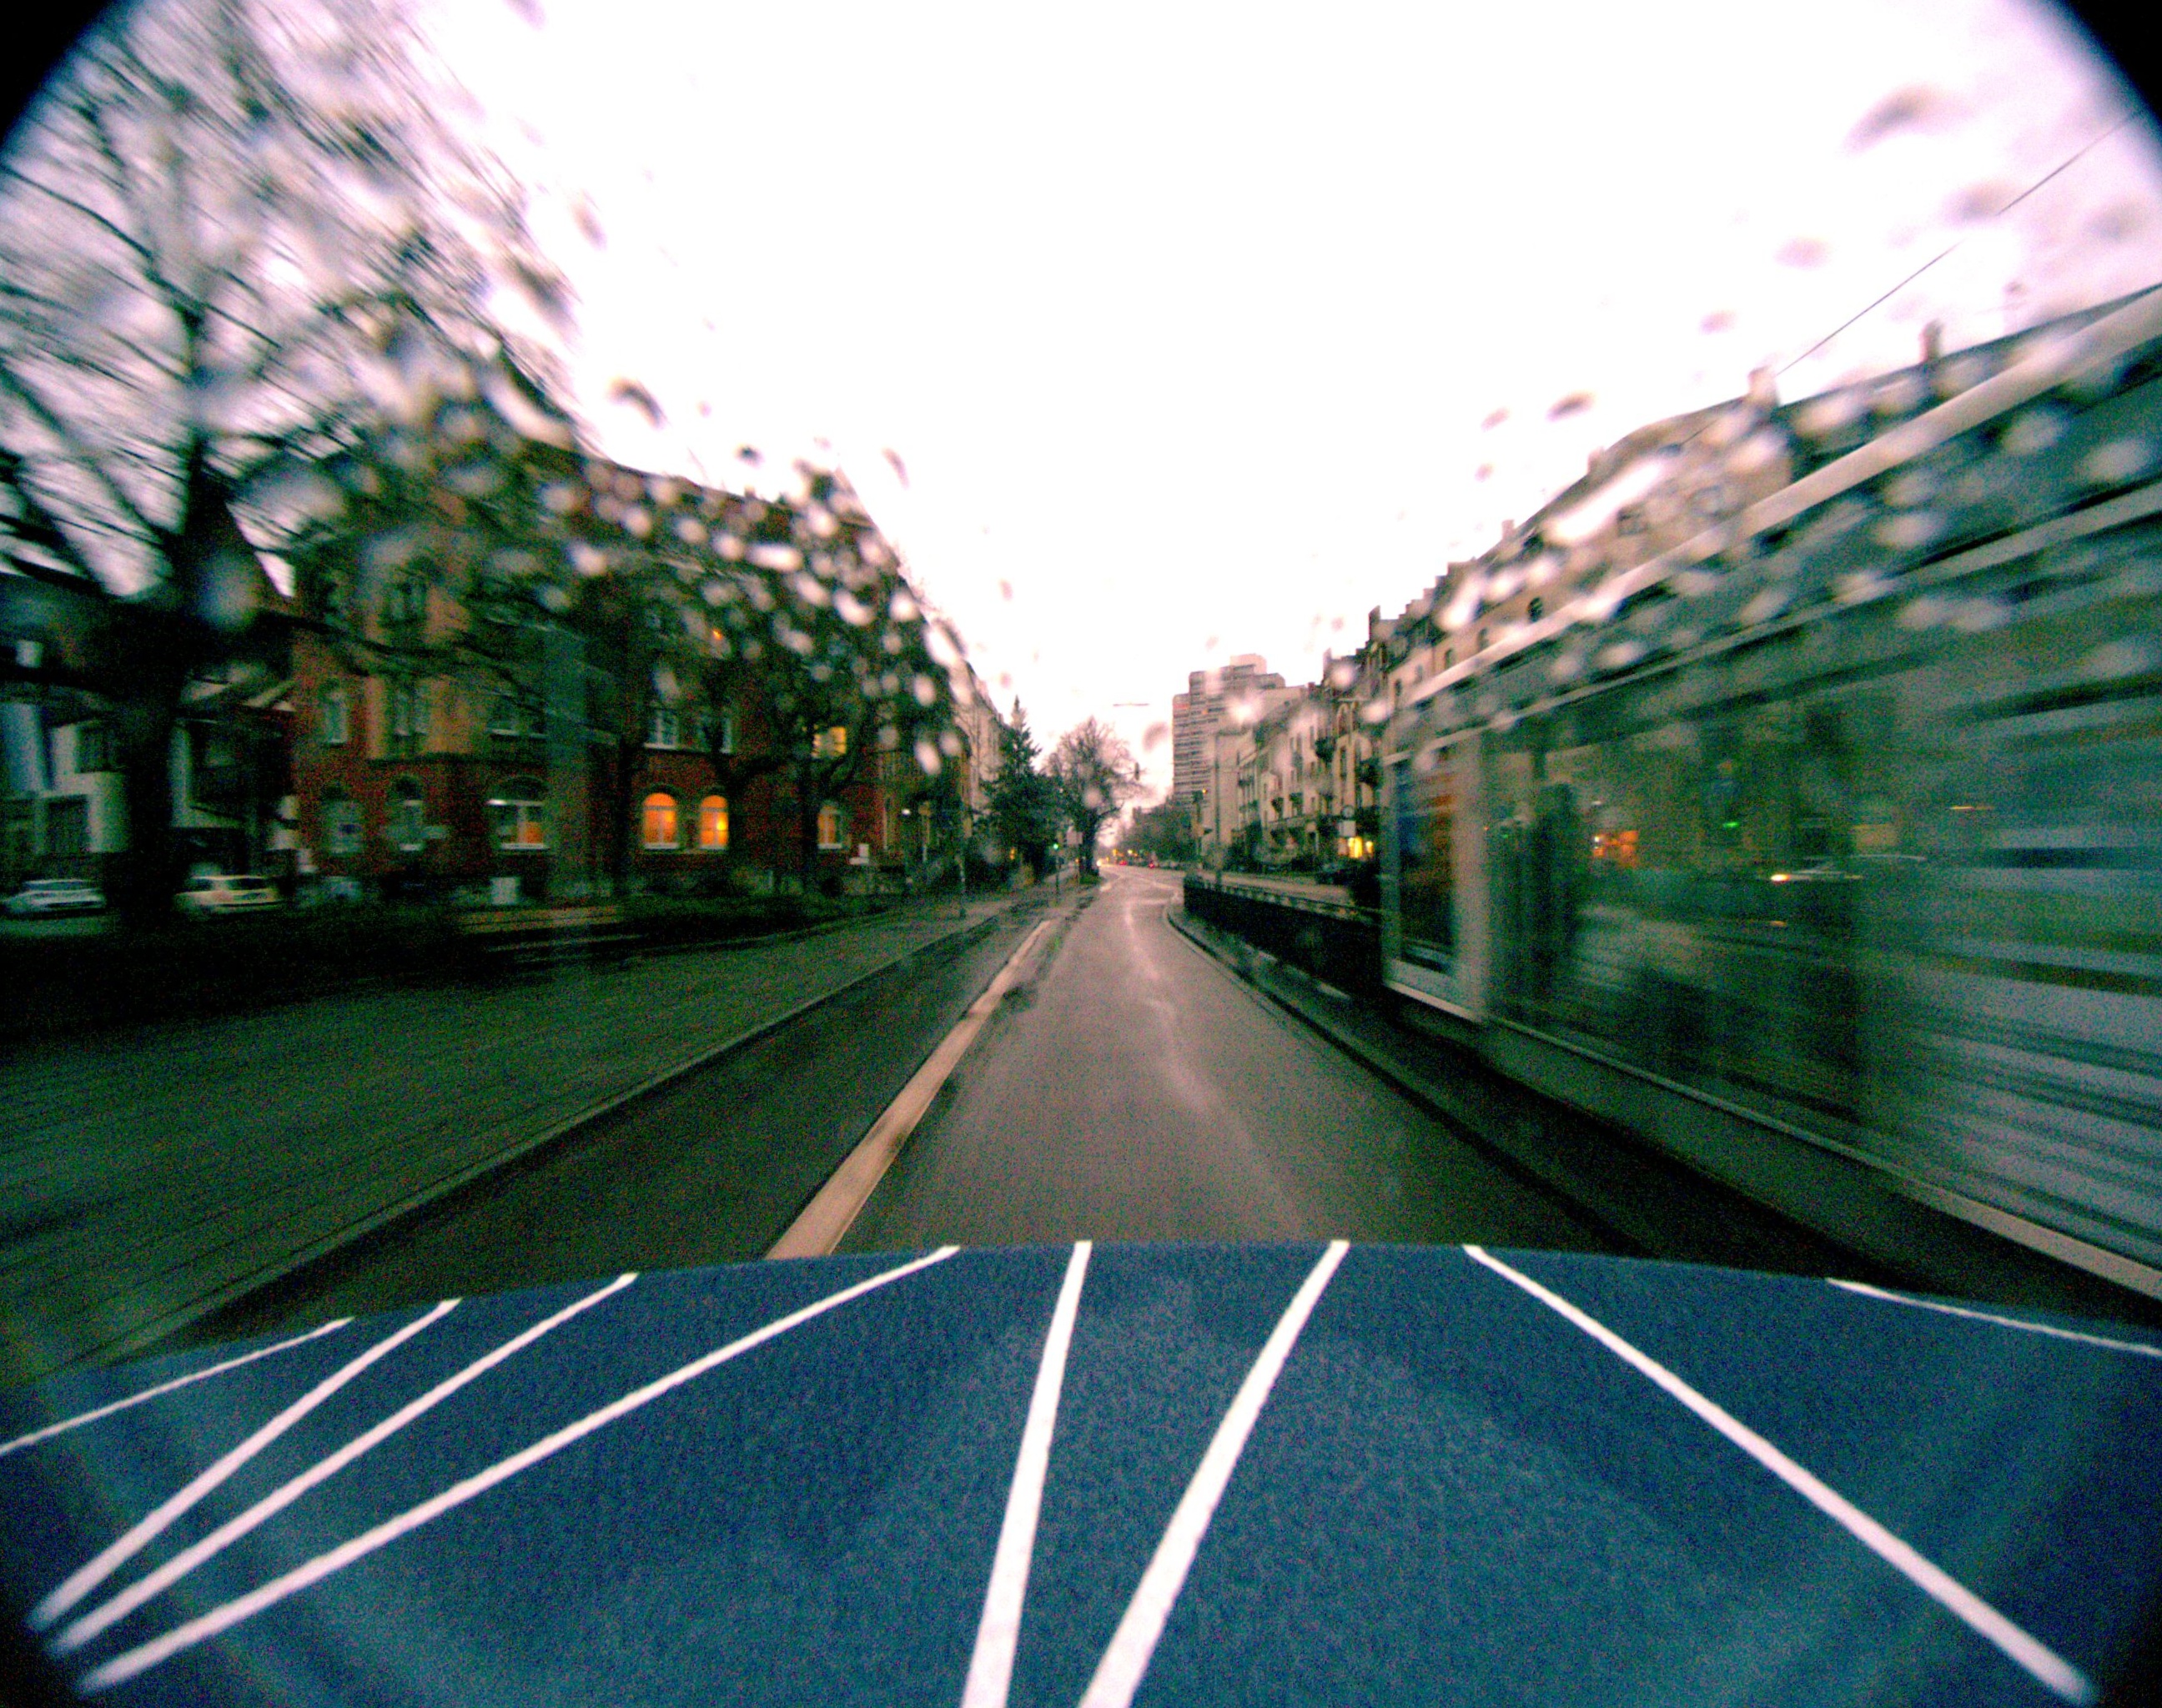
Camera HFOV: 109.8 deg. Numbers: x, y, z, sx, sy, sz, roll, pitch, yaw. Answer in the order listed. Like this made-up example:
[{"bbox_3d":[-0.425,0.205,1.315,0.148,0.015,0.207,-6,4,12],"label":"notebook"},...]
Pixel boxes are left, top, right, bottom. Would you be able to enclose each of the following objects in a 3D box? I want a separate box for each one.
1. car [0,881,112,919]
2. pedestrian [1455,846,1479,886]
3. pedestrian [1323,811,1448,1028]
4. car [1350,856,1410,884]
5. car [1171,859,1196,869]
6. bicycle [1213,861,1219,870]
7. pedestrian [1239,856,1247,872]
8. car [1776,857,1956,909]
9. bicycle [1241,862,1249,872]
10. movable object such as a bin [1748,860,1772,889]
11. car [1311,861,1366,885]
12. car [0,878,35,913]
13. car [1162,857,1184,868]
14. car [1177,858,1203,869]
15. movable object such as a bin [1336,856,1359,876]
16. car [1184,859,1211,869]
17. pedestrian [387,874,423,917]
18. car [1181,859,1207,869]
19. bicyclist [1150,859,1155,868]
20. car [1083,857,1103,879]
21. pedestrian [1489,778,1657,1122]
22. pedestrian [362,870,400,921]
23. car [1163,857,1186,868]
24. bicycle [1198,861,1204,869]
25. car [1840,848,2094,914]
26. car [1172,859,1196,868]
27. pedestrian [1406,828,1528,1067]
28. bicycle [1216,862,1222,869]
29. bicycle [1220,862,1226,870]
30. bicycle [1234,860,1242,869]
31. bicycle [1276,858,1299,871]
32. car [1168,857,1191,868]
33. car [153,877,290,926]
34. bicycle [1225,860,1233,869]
[{"bbox_3d":[-40.590,1.779,30.060,3.991,1.390,1.650,-1,0,21],"label":"car"},{"bbox_3d":[18.738,0.601,36.902,0.796,1.867,0.896,-4,0,37],"label":"pedestrian"},{"bbox_3d":[2.879,0.604,7.249,0.855,1.944,0.571,-4,0,1],"label":"pedestrian"},{"bbox_3d":[17.427,0.918,44.407,1.677,1.507,3.677,-4,0,-6],"label":"car"},{"bbox_3d":[16.999,1.604,125.707,3.839,1.405,1.727,-3,0,1],"label":"car"},{"bbox_3d":[16.882,1.450,95.299,0.435,1.001,1.605,-4,0,2],"label":"bicycle"},{"bbox_3d":[16.264,1.025,76.505,0.574,1.632,0.449,-4,0,-6],"label":"pedestrian"},{"bbox_3d":[24.928,0.961,24.335,3.816,1.464,1.617,-4,0,41],"label":"car"},{"bbox_3d":[16.827,1.345,77.974,0.530,0.934,2.086,-4,0,5],"label":"bicycle"},{"bbox_3d":[27.161,0.821,30.407,0.647,1.129,0.693,-1,0,37],"label":"movable object such as a bin"},{"bbox_3d":[16.803,1.228,49.869,1.807,1.382,4.508,-4,0,-3],"label":"car"},{"bbox_3d":[-48.207,1.802,33.319,3.991,1.498,1.728,-1,0,21],"label":"car"},{"bbox_3d":[17.327,1.567,143.377,3.839,1.707,1.727,-4,0,1],"label":"car"},{"bbox_3d":[17.207,1.489,119.882,3.839,1.405,1.727,-4,0,1],"label":"car"},{"bbox_3d":[19.739,0.902,56.242,1.239,1.423,1.074,-4,0,-1],"label":"movable object such as a bin"},{"bbox_3d":[17.534,1.517,114.396,3.839,1.405,1.727,-1,0,1],"label":"car"},{"bbox_3d":[-21.205,1.307,23.839,0.545,1.308,0.609,-2,0,21],"label":"pedestrian"},{"bbox_3d":[17.373,1.524,117.072,3.839,1.405,1.727,-1,0,1],"label":"car"},{"bbox_3d":[12.765,1.666,135.666,0.657,1.491,0.658,1,0,-7],"label":"bicyclist"},{"bbox_3d":[1.114,1.297,73.173,1.726,1.934,4.508,-4,0,-1],"label":"car"},{"bbox_3d":[3.024,0.565,4.715,0.558,1.975,0.571,-4,0,1],"label":"pedestrian"},{"bbox_3d":[-21.378,1.249,23.195,0.545,1.517,0.645,-2,0,22],"label":"pedestrian"},{"bbox_3d":[17.111,1.581,139.423,3.839,1.707,1.727,-4,0,1],"label":"car"},{"bbox_3d":[17.013,1.528,107.808,0.469,1.001,1.881,-4,0,2],"label":"bicycle"},{"bbox_3d":[23.988,0.731,20.887,4.332,1.574,1.941,-3,0,43],"label":"car"},{"bbox_3d":[17.643,1.615,130.190,3.839,1.405,1.727,-4,0,1],"label":"car"},{"bbox_3d":[2.959,0.690,5.869,0.558,1.731,0.571,-4,0,1],"label":"pedestrian"},{"bbox_3d":[16.957,1.451,93.364,0.442,0.827,1.768,-4,0,2],"label":"bicycle"},{"bbox_3d":[17.107,1.433,91.547,0.435,1.001,1.712,-4,0,2],"label":"bicycle"},{"bbox_3d":[17.070,1.107,82.767,0.530,0.884,2.210,-4,0,5],"label":"bicycle"},{"bbox_3d":[19.559,0.989,71.935,1.989,1.152,0.531,-4,0,0],"label":"bicycle"},{"bbox_3d":[17.715,1.566,136.595,3.839,1.707,1.727,-4,0,1],"label":"car"},{"bbox_3d":[-28.406,1.518,25.115,3.991,1.487,1.650,-1,0,21],"label":"car"},{"bbox_3d":[17.068,1.170,87.673,0.485,1.001,2.209,-4,0,2],"label":"bicycle"}]
